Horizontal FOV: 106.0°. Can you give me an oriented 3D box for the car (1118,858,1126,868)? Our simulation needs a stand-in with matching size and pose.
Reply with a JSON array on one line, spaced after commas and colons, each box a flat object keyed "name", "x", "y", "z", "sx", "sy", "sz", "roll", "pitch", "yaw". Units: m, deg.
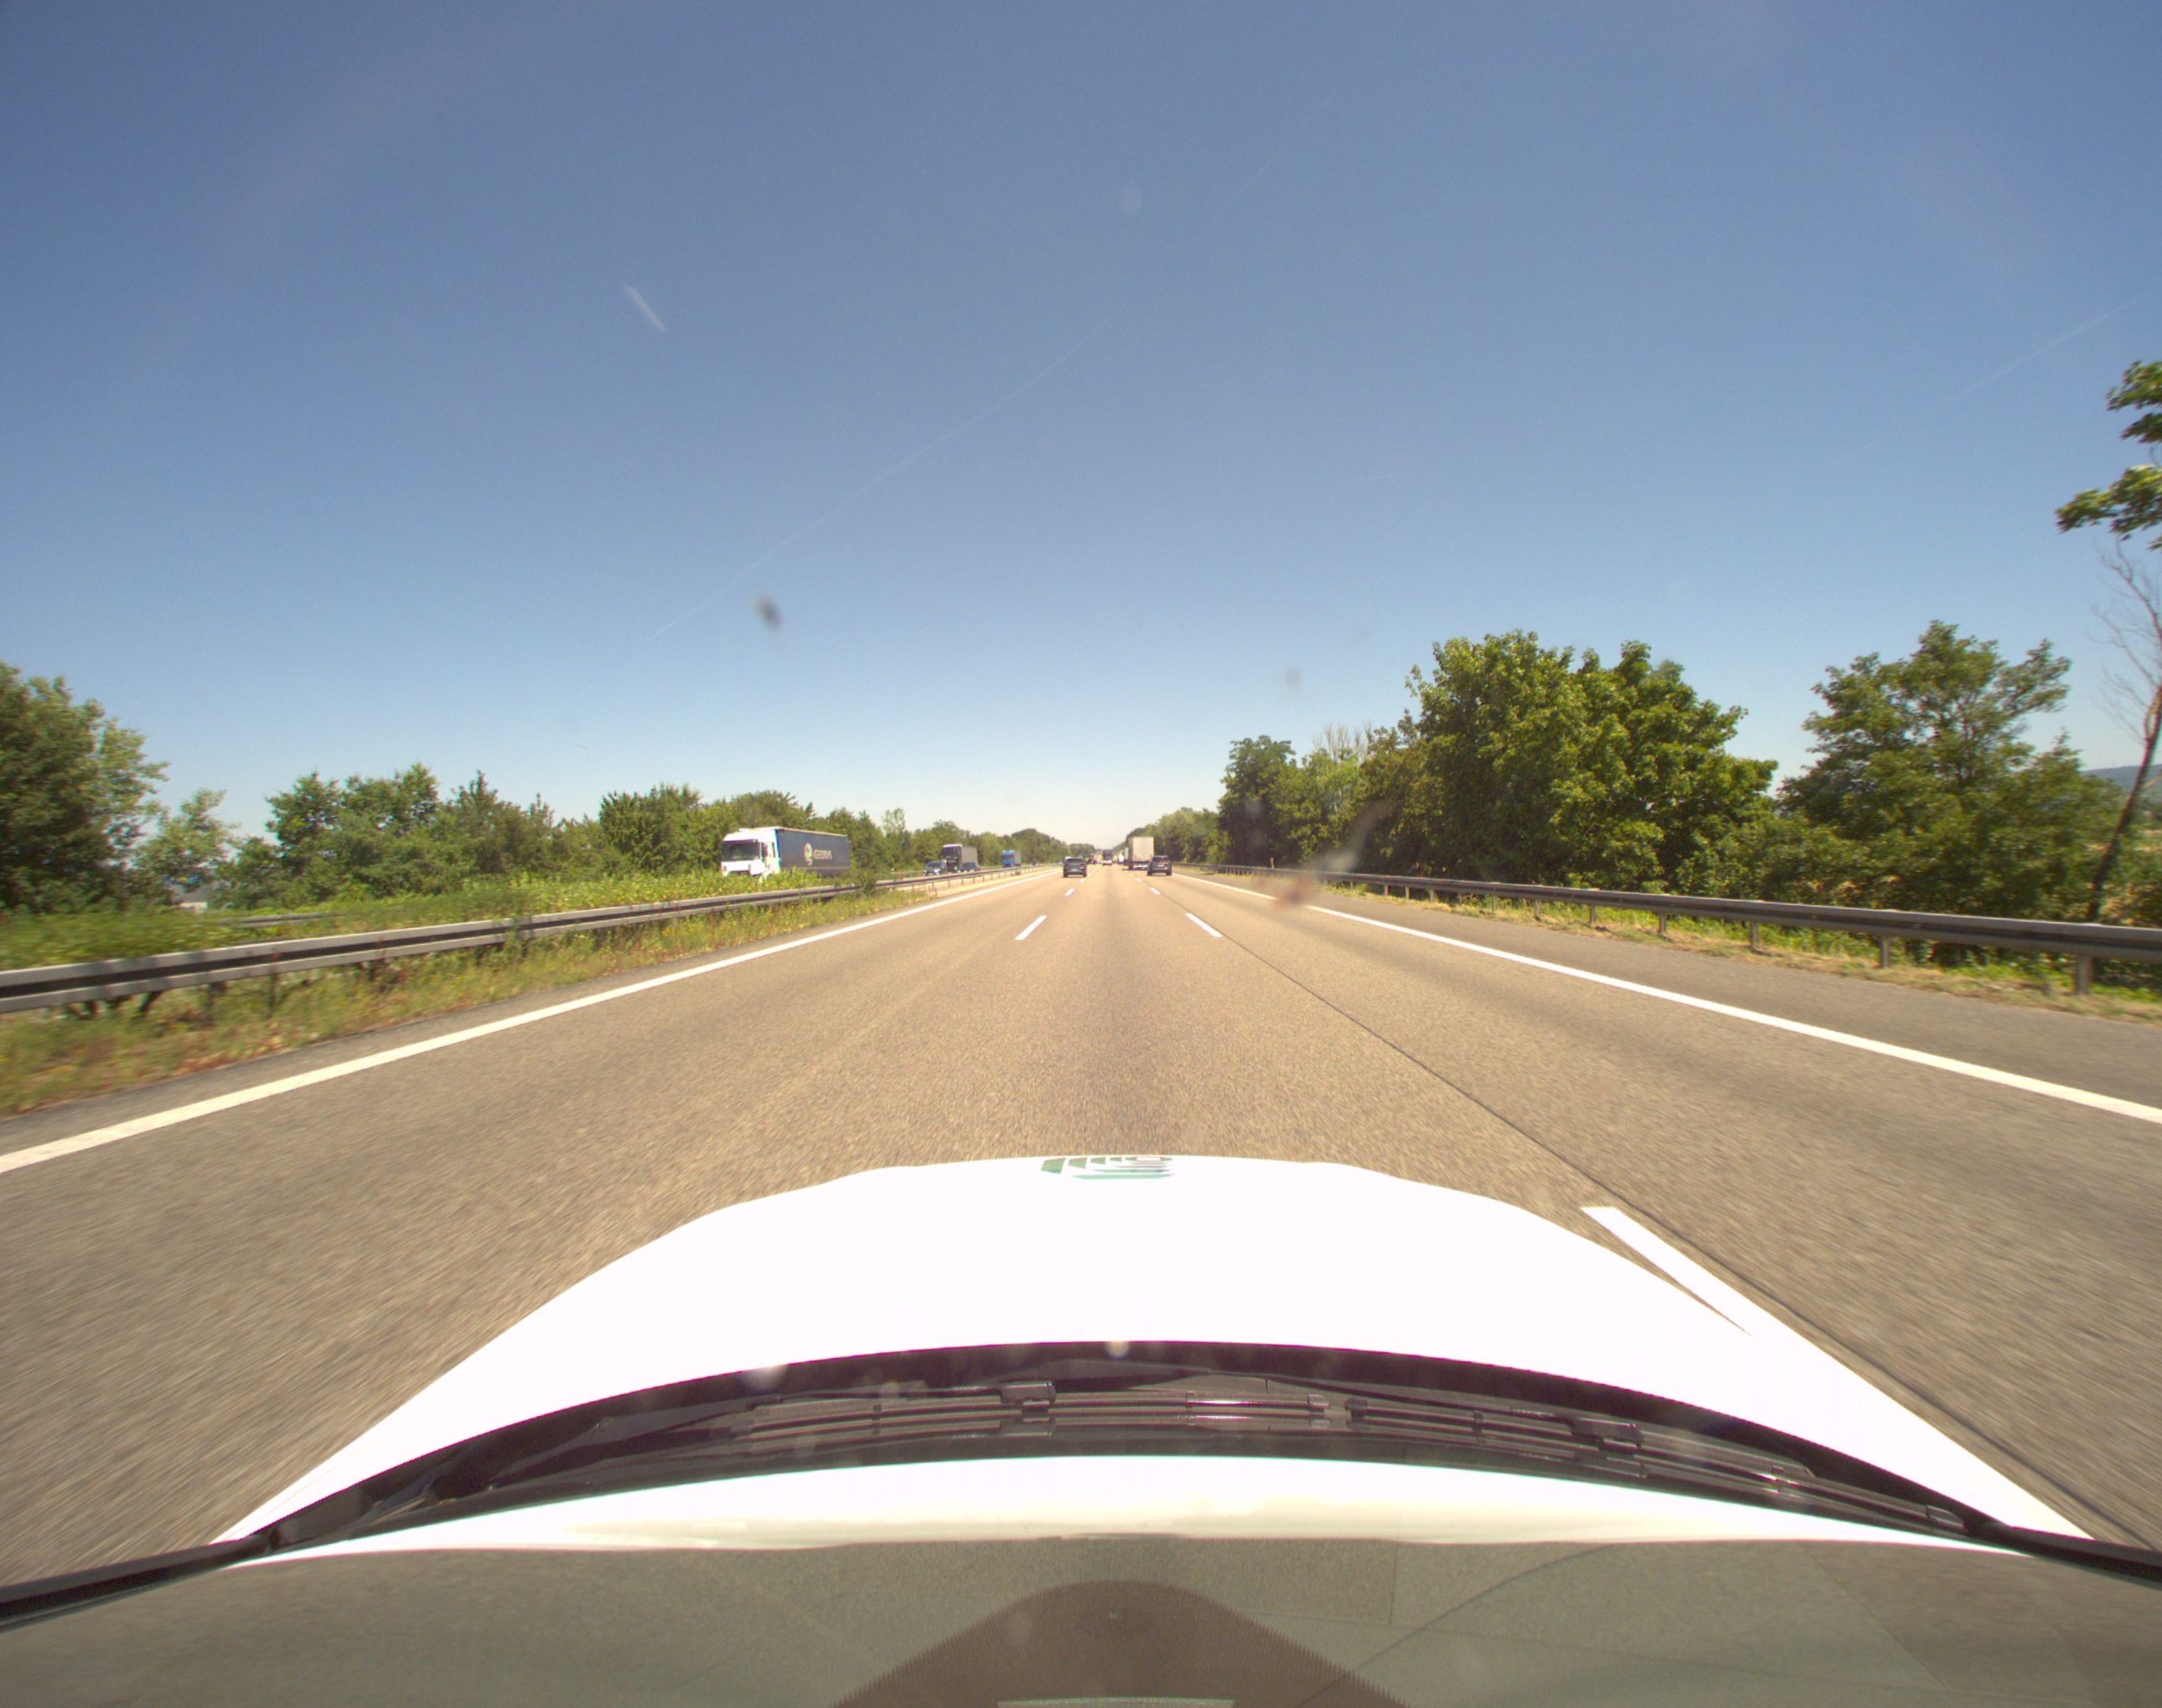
[{"name": "car", "x": 9.972, "y": 2.131, "z": 198.985, "sx": 1.900, "sy": 2.425, "sz": 4.287, "roll": 0, "pitch": 0, "yaw": 2}]

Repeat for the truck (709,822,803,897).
[{"name": "truck", "x": -19.739, "y": 0.348, "z": 49.970, "sx": 2.905, "sy": 4.129, "sz": 6.195, "roll": -4, "pitch": -1, "yaw": 2}]

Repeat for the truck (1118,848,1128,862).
[{"name": "truck", "x": 11.550, "y": 0.171, "z": 225.127, "sx": 2.781, "sy": 3.726, "sz": 7.114, "roll": 0, "pitch": 0, "yaw": 3}]

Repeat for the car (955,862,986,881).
[{"name": "car", "x": -9.937, "y": 1.509, "z": 73.467, "sx": 1.744, "sy": 1.484, "sz": 4.730, "roll": -6, "pitch": -1, "yaw": 3}]

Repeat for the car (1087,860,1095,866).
[{"name": "car", "x": 2.518, "y": 2.251, "z": 206.347, "sx": 1.900, "sy": 1.531, "sz": 4.287, "roll": 0, "pitch": 0, "yaw": 2}]

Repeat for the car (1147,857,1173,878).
[{"name": "car", "x": 6.488, "y": 1.066, "z": 67.006, "sx": 1.838, "sy": 1.629, "sz": 4.137, "roll": -1, "pitch": 0, "yaw": 2}]

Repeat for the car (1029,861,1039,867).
[{"name": "car", "x": -10.964, "y": 2.297, "z": 190.906, "sx": 1.843, "sy": 1.463, "sz": 4.315, "roll": 2, "pitch": -1, "yaw": 1}]

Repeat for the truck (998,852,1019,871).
[{"name": "truck", "x": -15.488, "y": 1.552, "z": 175.046, "sx": 3.238, "sy": 3.986, "sz": 8.736, "roll": -1, "pitch": 0, "yaw": 4}]

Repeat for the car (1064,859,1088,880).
[{"name": "car", "x": -0.359, "y": 1.224, "z": 64.524, "sx": 1.752, "sy": 1.531, "sz": 4.287, "roll": 0, "pitch": 0, "yaw": 2}]

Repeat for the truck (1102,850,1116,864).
[{"name": "truck", "x": 7.785, "y": 0.741, "z": 223.518, "sx": 3.652, "sy": 3.726, "sz": 7.114, "roll": 0, "pitch": 0, "yaw": 3}]

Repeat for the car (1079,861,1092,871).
[{"name": "car", "x": 0.756, "y": 1.966, "z": 132.486, "sx": 1.893, "sy": 1.531, "sz": 4.086, "roll": 0, "pitch": 0, "yaw": 2}]

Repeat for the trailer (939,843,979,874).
[{"name": "trailer", "x": -17.404, "y": 0.597, "z": 117.289, "sx": 3.337, "sy": 4.186, "sz": 13.545, "roll": -2, "pitch": 0, "yaw": 1}]

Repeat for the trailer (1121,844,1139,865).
[{"name": "trailer", "x": 9.633, "y": 0.135, "z": 160.131, "sx": 3.111, "sy": 3.926, "sz": 9.938, "roll": 0, "pitch": 0, "yaw": 1}]

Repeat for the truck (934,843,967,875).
[{"name": "truck", "x": -17.620, "y": 0.644, "z": 110.587, "sx": 3.186, "sy": 4.129, "sz": 6.196, "roll": -1, "pitch": 0, "yaw": 2}]

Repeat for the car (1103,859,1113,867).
[{"name": "car", "x": 5.209, "y": 1.671, "z": 156.262, "sx": 1.893, "sy": 1.531, "sz": 4.086, "roll": 0, "pitch": 0, "yaw": 2}]

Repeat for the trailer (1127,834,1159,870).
[{"name": "trailer", "x": 7.482, "y": -0.129, "z": 100.456, "sx": 3.421, "sy": 4.181, "sz": 13.639, "roll": 0, "pitch": -1, "yaw": 2}]

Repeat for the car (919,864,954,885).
[{"name": "car", "x": -14.435, "y": 1.972, "z": 81.455, "sx": 2.219, "sy": 1.989, "sz": 5.362, "roll": 0, "pitch": 0, "yaw": 4}]

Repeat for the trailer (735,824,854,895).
[{"name": "trailer", "x": -19.584, "y": 0.401, "z": 57.066, "sx": 2.909, "sy": 4.186, "sz": 13.546, "roll": -3, "pitch": -1, "yaw": 2}]
